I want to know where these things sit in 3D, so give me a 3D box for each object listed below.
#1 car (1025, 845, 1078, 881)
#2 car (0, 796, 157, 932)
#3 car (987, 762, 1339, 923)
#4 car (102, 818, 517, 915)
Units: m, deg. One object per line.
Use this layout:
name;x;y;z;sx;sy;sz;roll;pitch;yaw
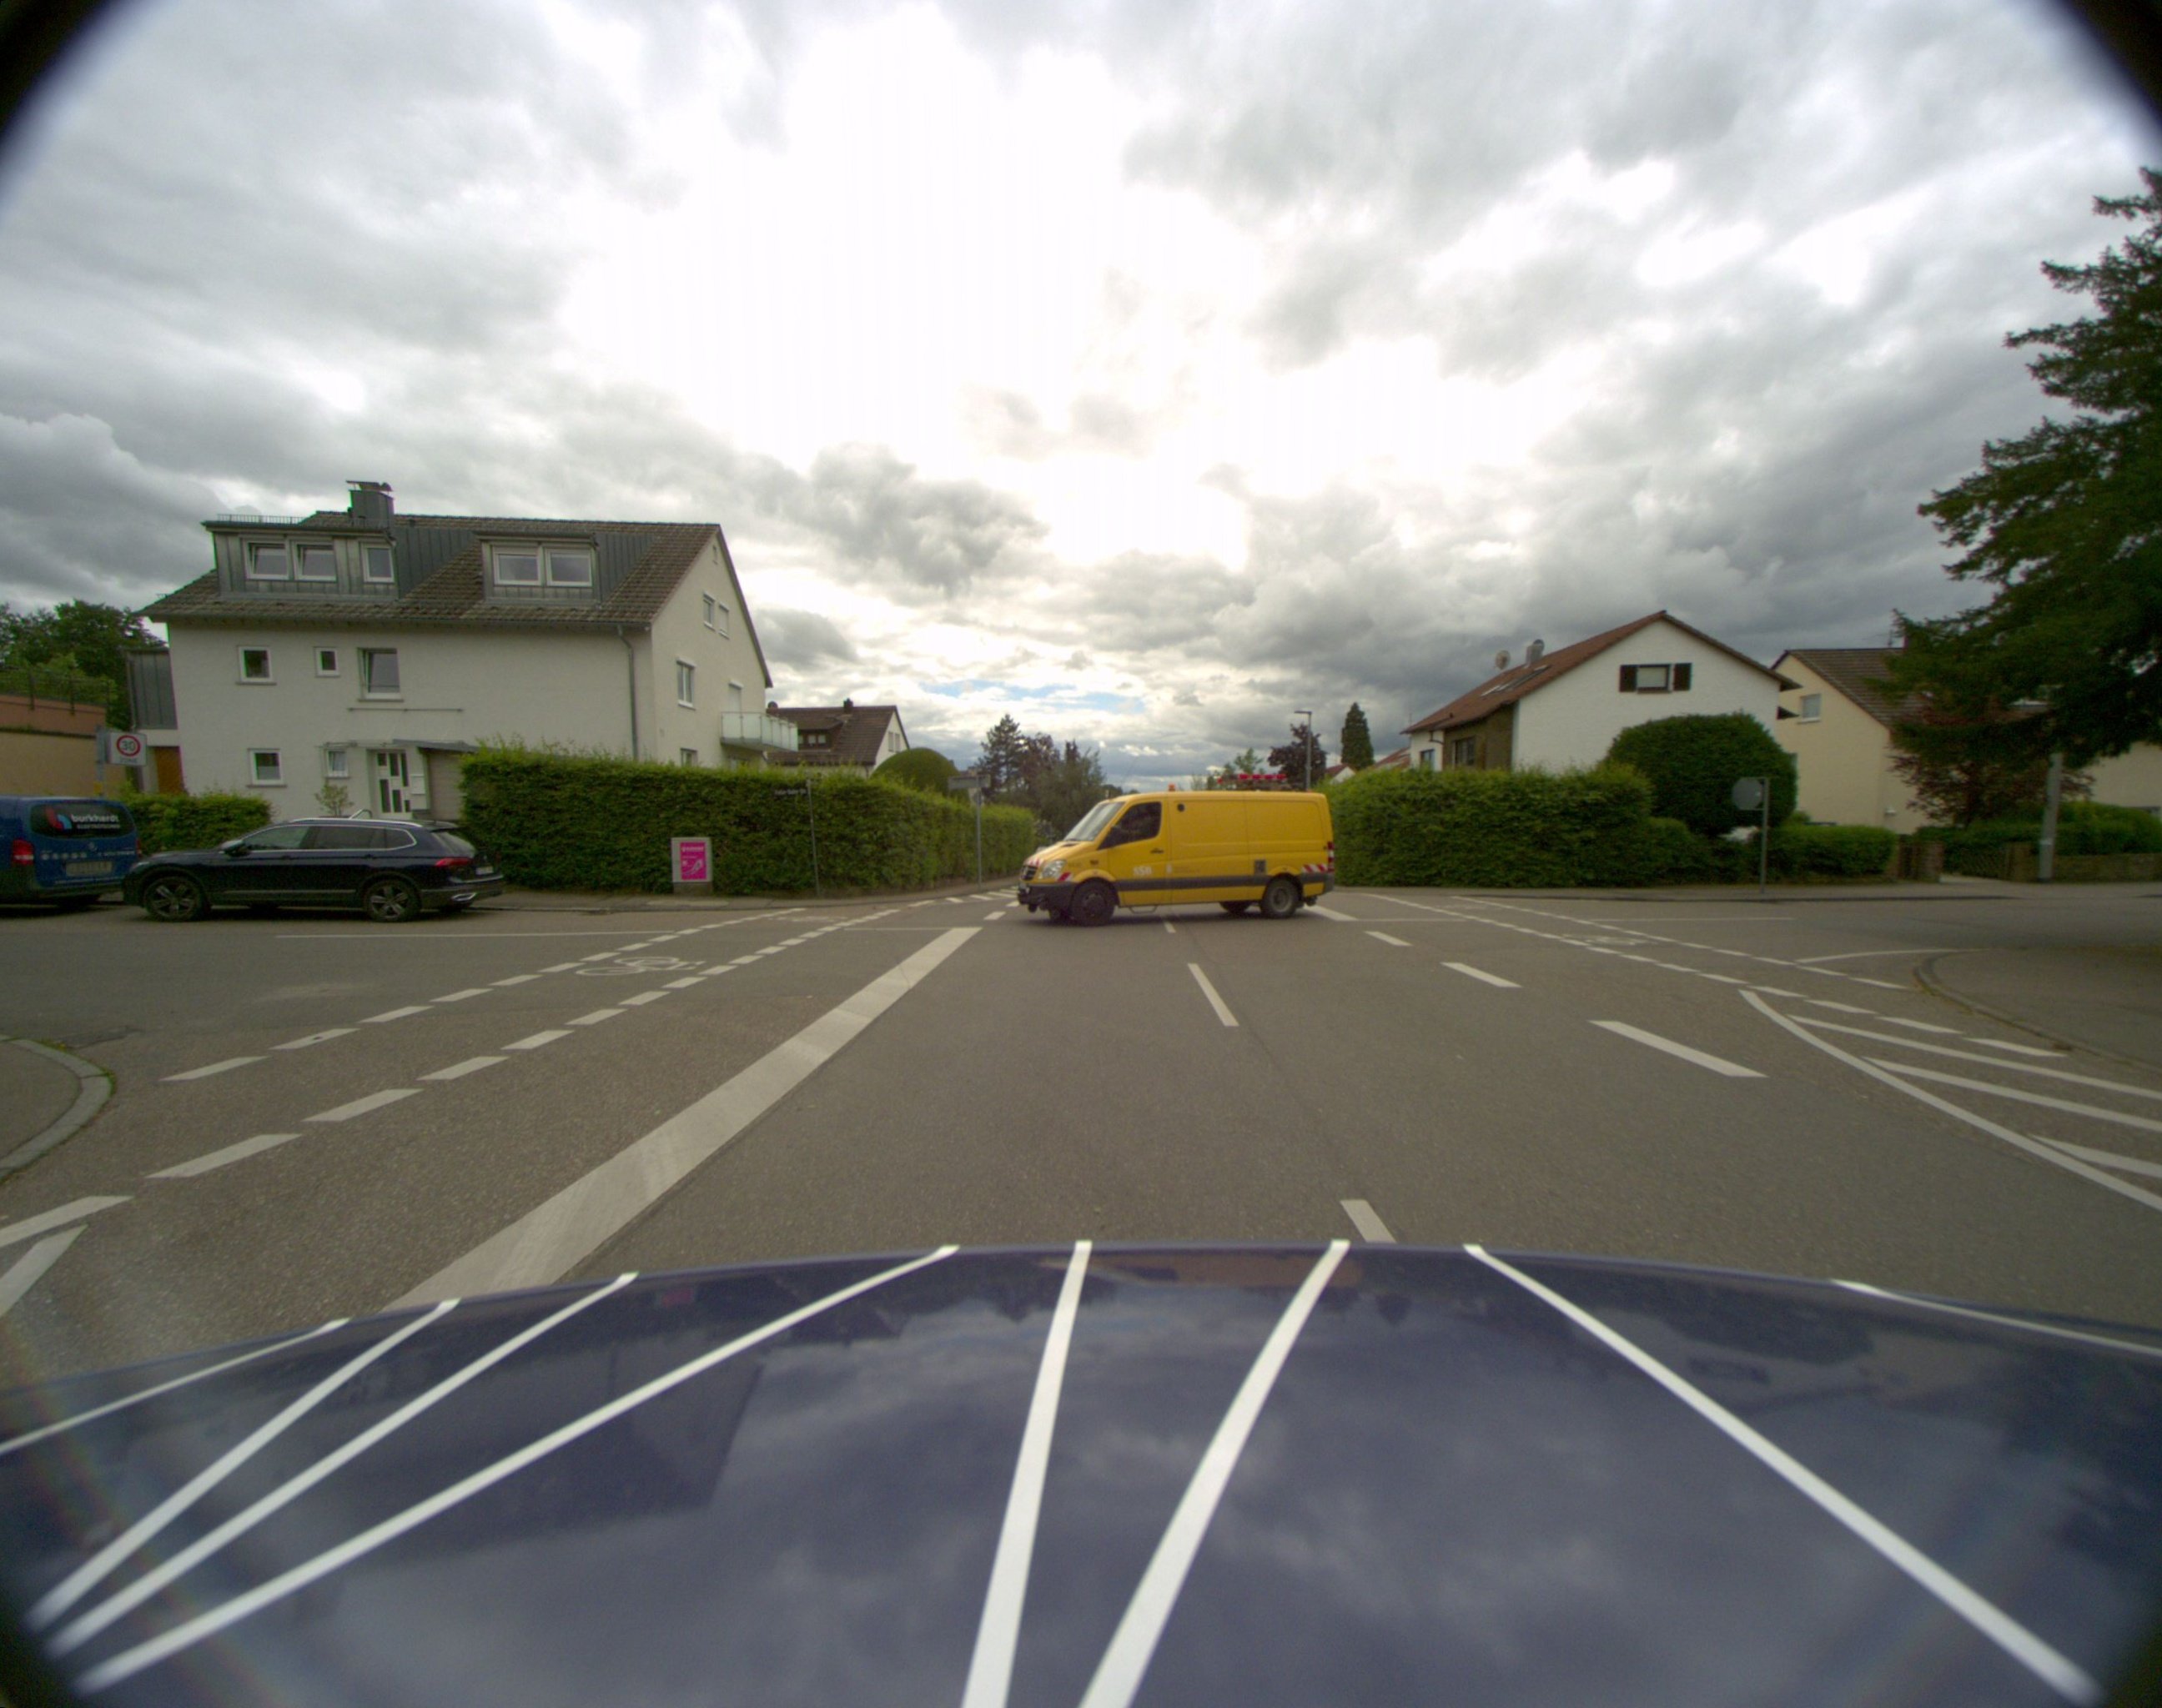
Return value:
car;-1.212;0.347;33.249;1.794;1.480;4.380;0;0;4
car;-17.977;0.077;11.538;4.737;1.946;1.883;1;4;-14
car;1.496;-0.178;14.296;6.148;2.586;2.364;0;1;-18
car;-12.605;0.229;12.817;4.521;1.426;1.998;1;0;-13
